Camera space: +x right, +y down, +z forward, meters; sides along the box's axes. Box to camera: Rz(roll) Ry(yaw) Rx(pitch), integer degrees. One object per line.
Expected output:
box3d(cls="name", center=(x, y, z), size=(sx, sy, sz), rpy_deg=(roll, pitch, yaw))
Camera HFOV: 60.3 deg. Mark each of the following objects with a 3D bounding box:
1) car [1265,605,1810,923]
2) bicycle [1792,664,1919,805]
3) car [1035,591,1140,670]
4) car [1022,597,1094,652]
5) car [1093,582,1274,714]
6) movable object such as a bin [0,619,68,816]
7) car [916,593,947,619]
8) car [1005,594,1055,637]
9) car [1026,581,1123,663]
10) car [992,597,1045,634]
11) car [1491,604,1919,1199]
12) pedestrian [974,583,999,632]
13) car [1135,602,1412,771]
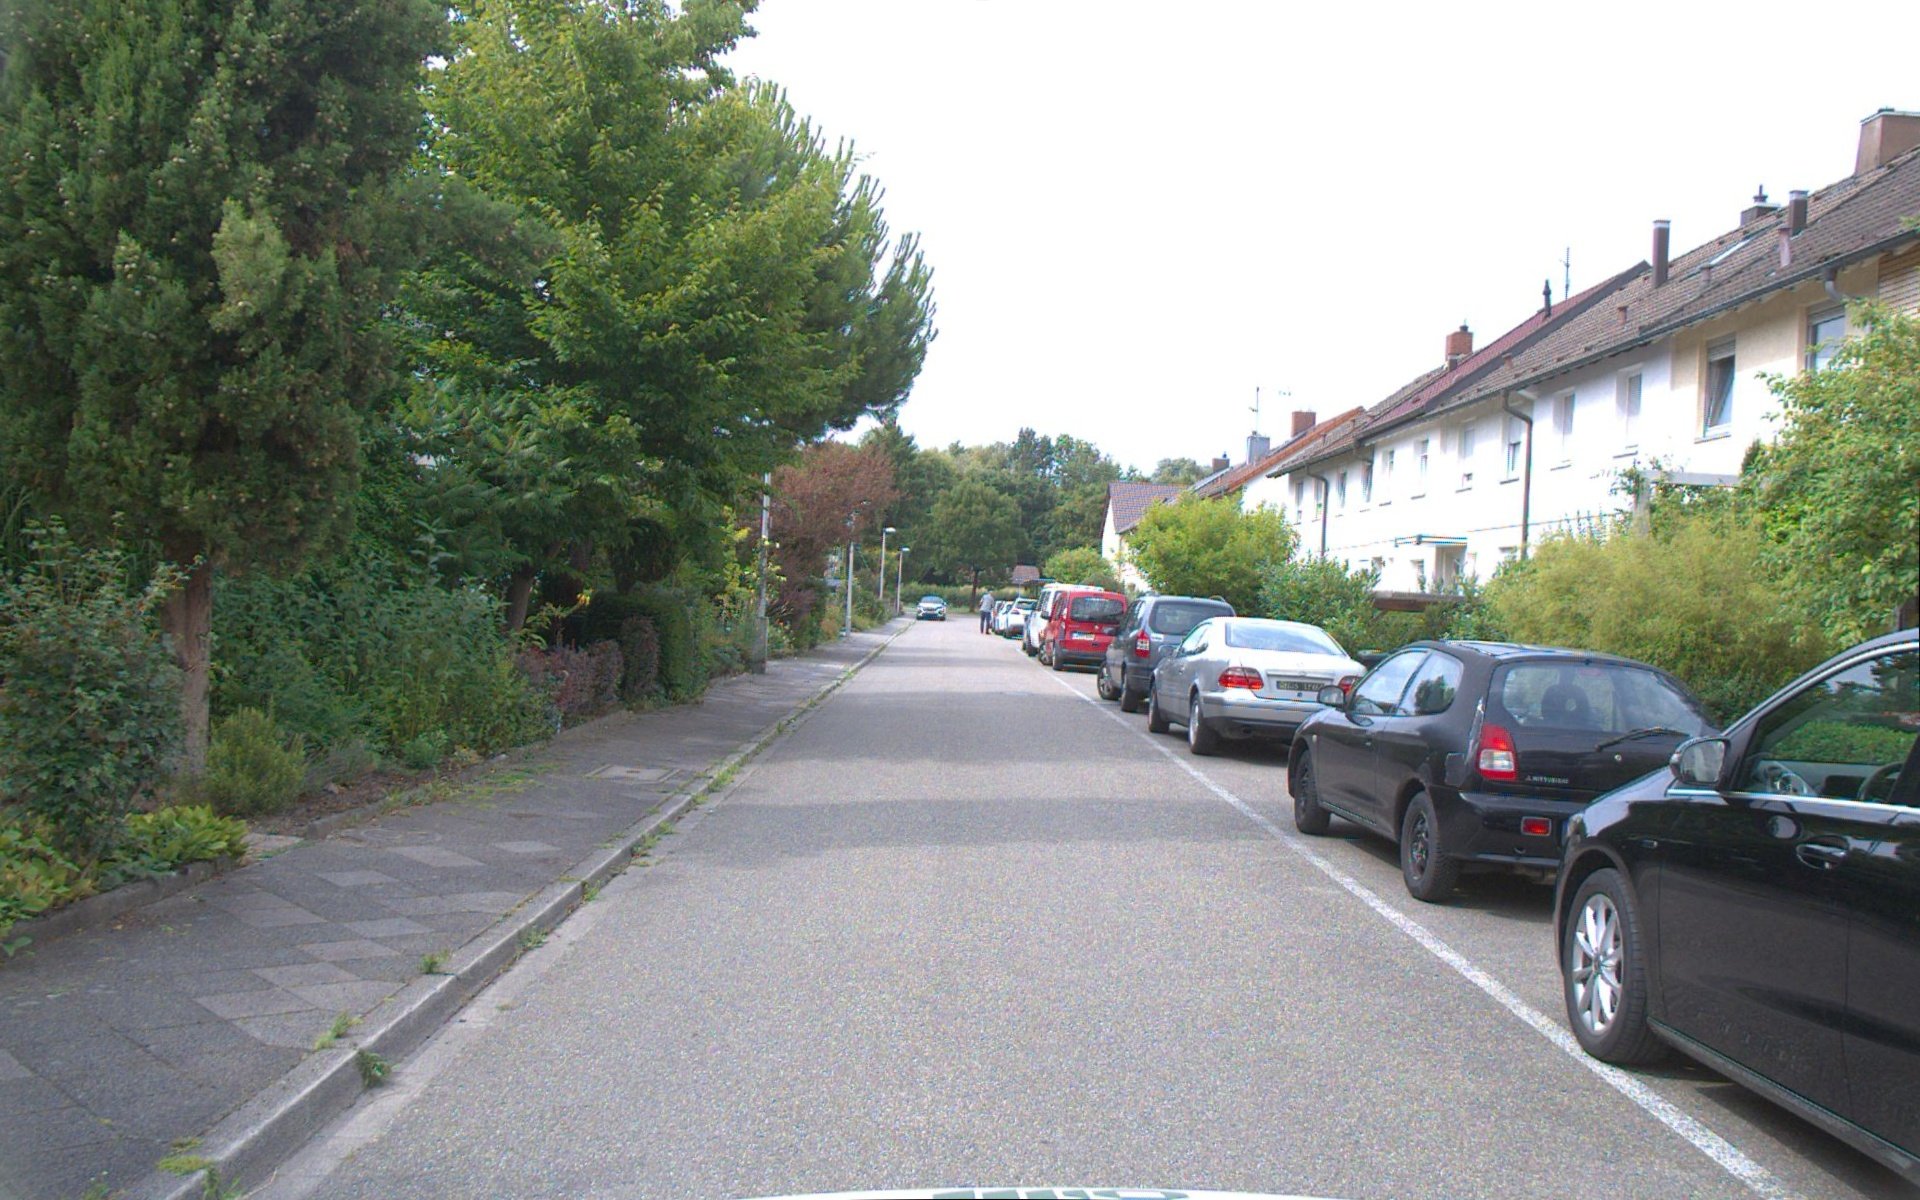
box3d(cls="car", center=(3.214, 0.812, 10.150), size=(1.698, 1.453, 4.124), rpy_deg=(3, 0, -3))
box3d(cls="bicycle", center=(7.389, 1.060, 12.946), size=(1.506, 1.041, 0.376), rpy_deg=(2, 0, 5))
box3d(cls="car", center=(2.920, 0.656, 38.623), size=(1.775, 1.679, 4.407), rpy_deg=(2, 0, -4))
box3d(cls="car", center=(2.845, 0.684, 48.726), size=(1.862, 1.485, 4.129), rpy_deg=(2, 0, 0))
box3d(cls="car", center=(3.185, 0.632, 24.457), size=(1.830, 1.682, 4.462), rpy_deg=(3, 0, -2))
box3d(cls="movable object such as a bin", center=(-5.196, 0.594, 8.583), size=(0.697, 0.973, 0.751), rpy_deg=(2, 0, -1))
box3d(cls="car", center=(-1.837, 0.379, 108.030), size=(1.894, 1.583, 4.634), rpy_deg=(2, 0, 0))
box3d(cls="car", center=(2.647, 0.570, 63.175), size=(1.678, 1.570, 3.973), rpy_deg=(1, 0, 0))
box3d(cls="car", center=(2.955, 0.531, 43.624), size=(1.980, 1.981, 4.745), rpy_deg=(2, 0, -3))
box3d(cls="car", center=(2.475, 0.653, 70.821), size=(1.801, 1.437, 4.634), rpy_deg=(2, 0, -3))
box3d(cls="car", center=(3.101, 0.814, 4.491), size=(1.714, 1.492, 4.647), rpy_deg=(3, 0, -1))
box3d(cls="pedestrian", center=(1.106, 0.306, 70.222), size=(0.894, 2.049, 0.950), rpy_deg=(2, 0, -6))
box3d(cls="car", center=(3.223, 0.824, 18.017), size=(1.830, 1.431, 4.765), rpy_deg=(4, 0, -3))
